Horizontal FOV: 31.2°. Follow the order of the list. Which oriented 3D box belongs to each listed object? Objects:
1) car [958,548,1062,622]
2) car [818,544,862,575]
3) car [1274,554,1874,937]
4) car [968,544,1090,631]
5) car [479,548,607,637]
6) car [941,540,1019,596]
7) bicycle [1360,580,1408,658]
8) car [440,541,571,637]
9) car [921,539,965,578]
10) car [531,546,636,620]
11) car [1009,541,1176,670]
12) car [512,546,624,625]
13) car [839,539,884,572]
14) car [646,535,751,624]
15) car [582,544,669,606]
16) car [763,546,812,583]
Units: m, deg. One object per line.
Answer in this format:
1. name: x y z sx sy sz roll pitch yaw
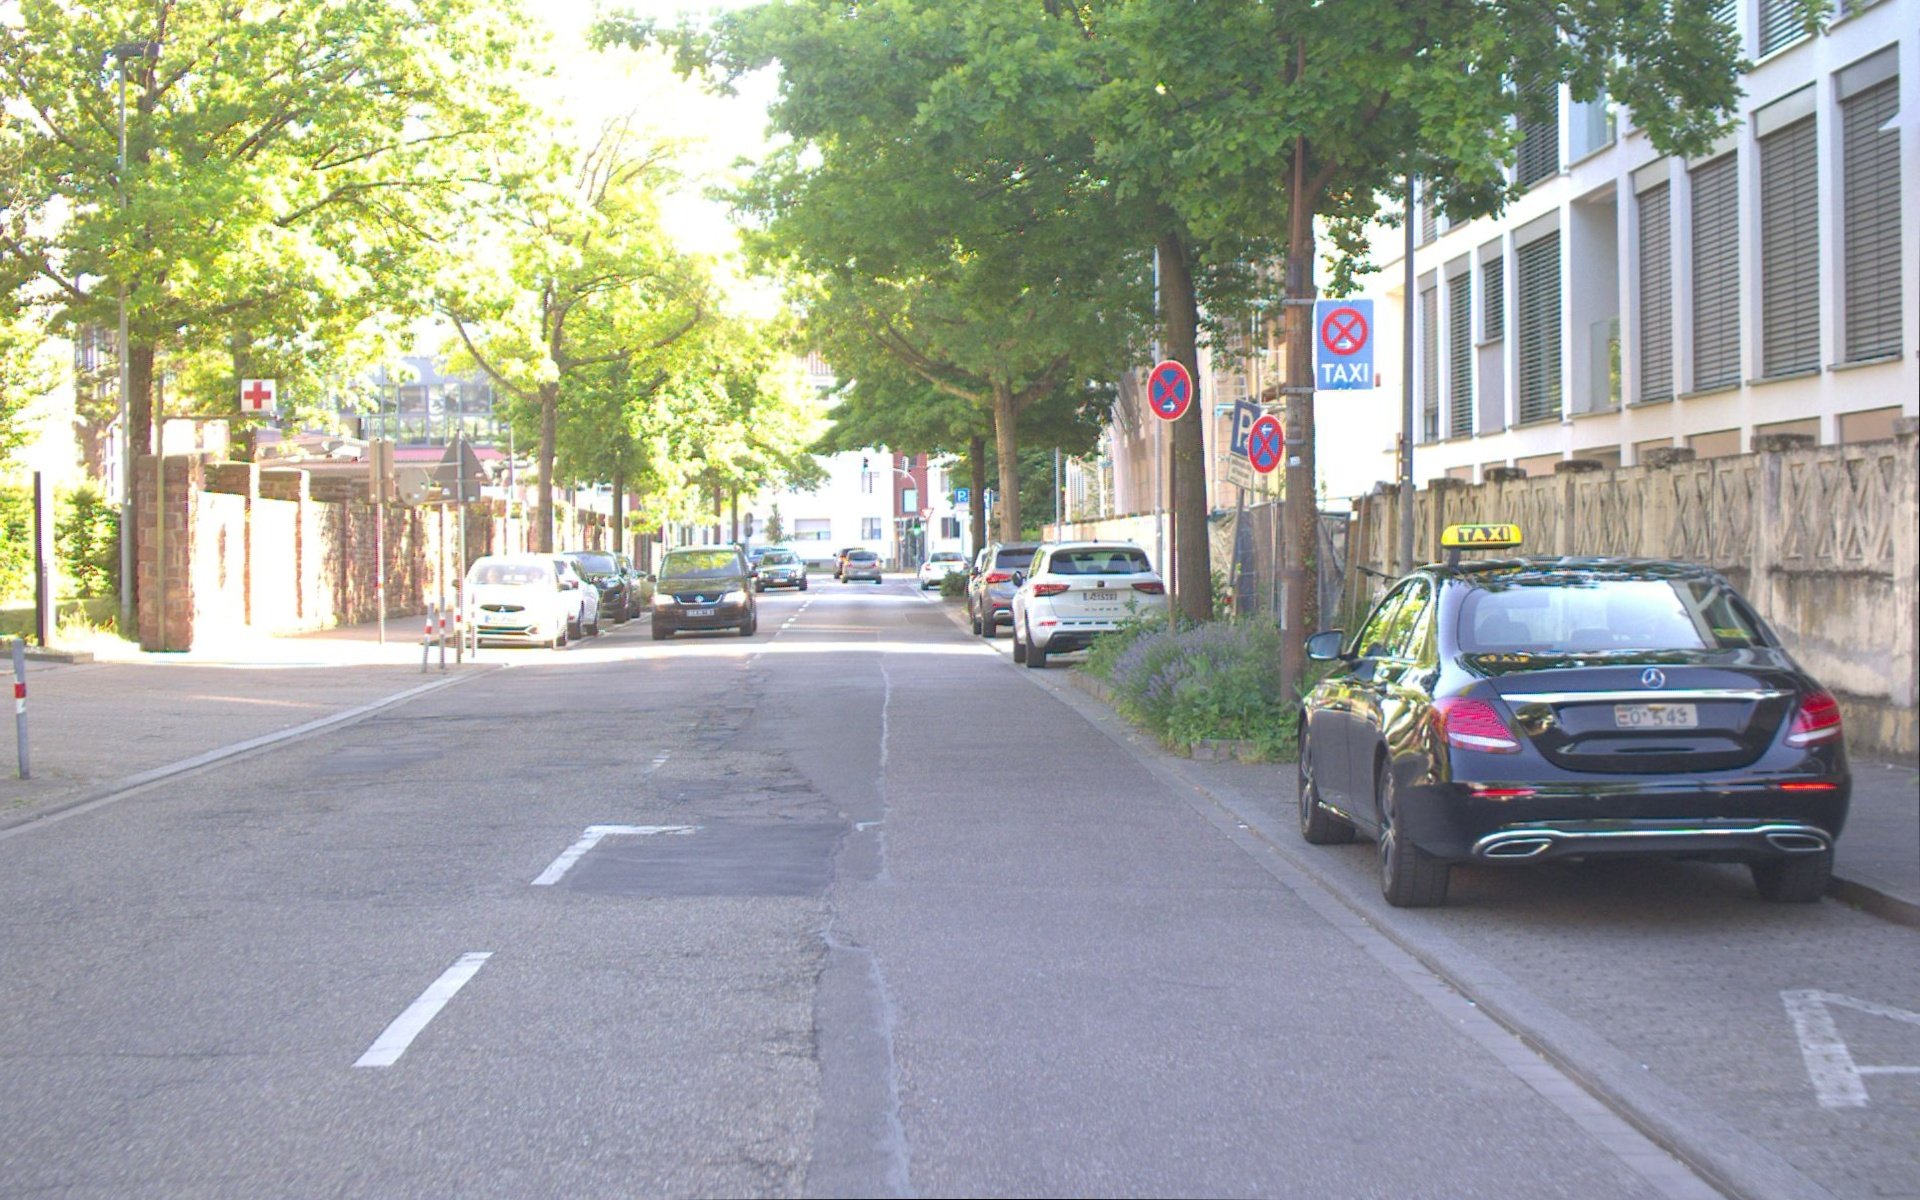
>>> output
1. car: 0.975 -0.315 69.257 1.993 1.420 3.837 0 1 -1
2. car: -5.959 -2.011 170.223 1.993 1.448 4.001 -1 1 -4
3. car: 2.554 0.532 15.260 1.767 1.435 4.001 -1 1 -3
4. car: 1.173 -0.242 59.864 1.993 1.460 3.837 0 1 -1
5. car: -7.476 -0.168 61.913 1.907 1.525 4.000 0 1 -2
6. car: 0.511 -0.859 90.615 1.993 1.420 3.837 0 1 -1
7. bicycle: 4.730 0.204 38.356 0.356 0.839 1.324 0 1 -1
8. car: -7.345 -0.208 55.842 1.767 1.482 4.001 -1 1 -3
9. car: -0.628 -1.522 124.998 1.585 1.395 3.837 0 1 -1
10. car: -8.086 -0.395 74.077 1.907 1.525 4.000 0 1 -2
11. car: 1.651 0.034 44.106 1.950 1.573 3.837 0 1 -1
12. car: -7.947 -0.319 69.937 1.907 1.525 4.000 0 1 -2
13. car: -4.298 -1.952 150.464 1.889 1.395 3.837 0 1 -1
14. car: -4.623 -0.385 61.210 1.653 1.525 4.000 0 1 -2
15. car: -8.451 -0.644 87.136 1.907 1.525 4.000 0 1 -2
16. car: -6.084 -1.266 121.657 1.585 1.271 3.837 0 1 -1
